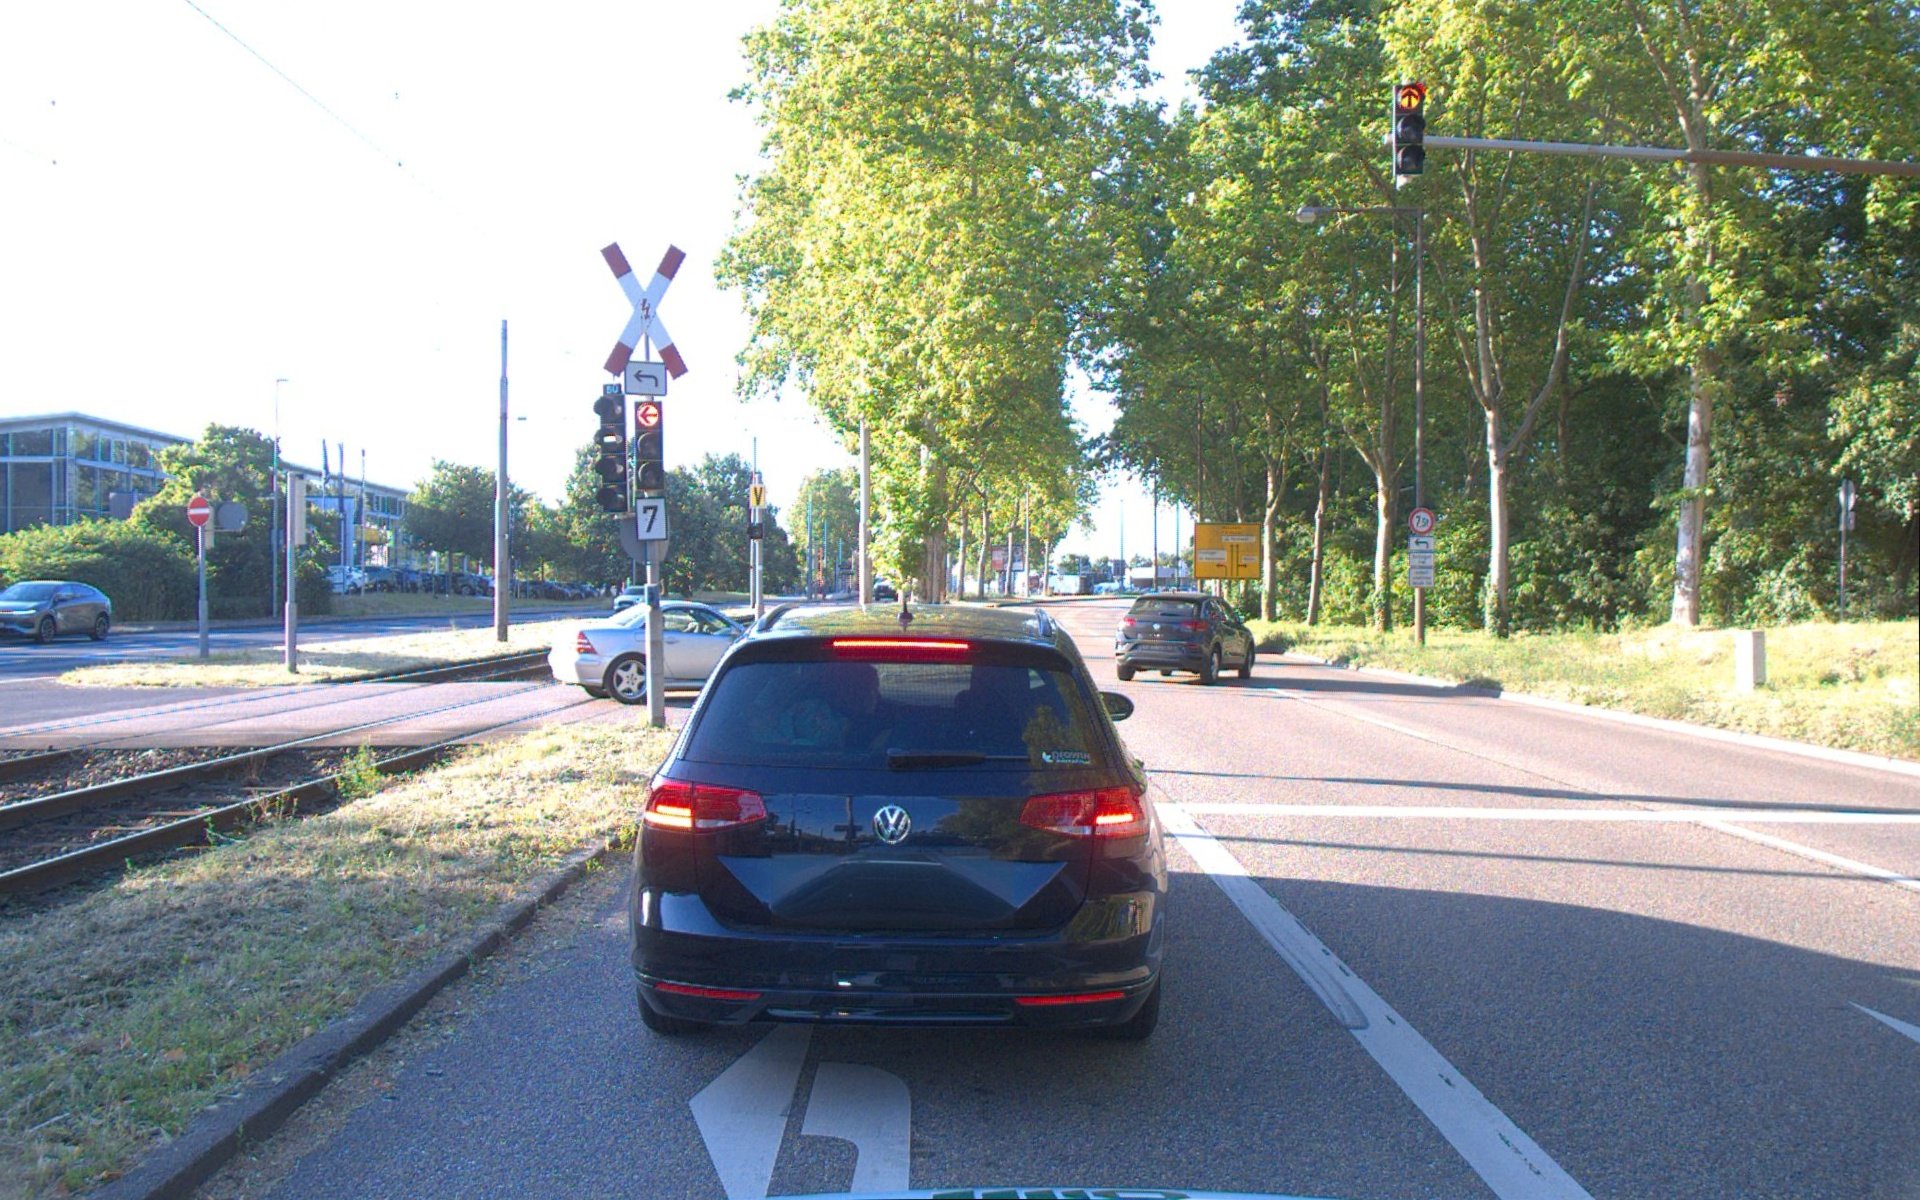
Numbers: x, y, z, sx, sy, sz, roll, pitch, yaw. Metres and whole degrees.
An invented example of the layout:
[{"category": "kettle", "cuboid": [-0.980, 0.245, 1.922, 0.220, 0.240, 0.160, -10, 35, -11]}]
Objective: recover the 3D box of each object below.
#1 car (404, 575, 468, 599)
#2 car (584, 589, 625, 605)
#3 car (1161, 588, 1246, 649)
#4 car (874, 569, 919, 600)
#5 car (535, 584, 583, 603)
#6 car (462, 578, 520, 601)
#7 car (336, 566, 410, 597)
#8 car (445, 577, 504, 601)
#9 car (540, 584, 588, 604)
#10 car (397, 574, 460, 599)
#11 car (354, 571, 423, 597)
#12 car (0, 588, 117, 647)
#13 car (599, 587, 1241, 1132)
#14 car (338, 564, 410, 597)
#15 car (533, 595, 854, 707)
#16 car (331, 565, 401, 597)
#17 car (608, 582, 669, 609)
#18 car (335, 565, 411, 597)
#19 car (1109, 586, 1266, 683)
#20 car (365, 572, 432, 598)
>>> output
[{"category": "car", "cuboid": [-36.045, -0.865, 113.795, 3.913, 1.583, 1.740, 1, 0, -9]}, {"category": "car", "cuboid": [-35.972, -0.336, 167.430, 3.909, 1.583, 1.742, 1, 0, -5]}, {"category": "car", "cuboid": [6.991, 0.516, 47.810, 1.834, 1.663, 4.370, 0, 0, 0]}, {"category": "car", "cuboid": [-5.341, -1.280, 139.484, 2.051, 2.504, 5.856, 1, 1, 16]}, {"category": "car", "cuboid": [-35.227, -0.560, 145.368, 3.909, 1.649, 1.742, 1, 0, -6]}, {"category": "car", "cuboid": [-35.247, -0.767, 124.466, 3.909, 1.649, 1.742, 1, 0, -6]}, {"category": "car", "cuboid": [-33.699, -1.054, 94.949, 3.930, 1.734, 1.732, 1, 0, -22]}, {"category": "car", "cuboid": [-35.577, -0.808, 121.250, 3.909, 1.649, 1.742, 1, 0, -6]}, {"category": "car", "cuboid": [-35.525, -0.534, 148.526, 3.909, 1.649, 1.742, 1, 0, -6]}, {"category": "car", "cuboid": [-35.713, -0.885, 111.100, 3.930, 1.583, 1.732, 1, 0, -22]}, {"category": "car", "cuboid": [-35.207, -0.978, 101.927, 3.930, 1.583, 1.732, 1, 0, -22]}, {"category": "car", "cuboid": [-25.208, 0.434, 45.483, 1.823, 1.507, 4.172, 1, 1, 1]}, {"category": "car", "cuboid": [-0.143, 0.721, 6.387, 1.758, 1.490, 3.582, 1, 0, -1]}, {"category": "car", "cuboid": [-34.447, -1.118, 97.275, 3.930, 1.848, 1.732, 1, 0, -22]}, {"category": "car", "cuboid": [-3.511, 0.623, 21.882, 3.920, 1.317, 1.601, -1, 1, -26]}, {"category": "car", "cuboid": [-35.554, -1.150, 99.012, 3.930, 1.848, 1.732, 1, 0, -22]}, {"category": "car", "cuboid": [-18.382, -0.254, 94.723, 1.822, 1.507, 4.095, 1, 1, 14]}, {"category": "car", "cuboid": [-32.916, -1.045, 92.710, 3.930, 1.734, 1.732, 1, 0, -22]}, {"category": "car", "cuboid": [4.172, 0.573, 29.838, 1.673, 1.588, 4.163, 1, 0, 24]}, {"category": "car", "cuboid": [-35.549, -0.952, 104.706, 3.930, 1.583, 1.732, 1, 0, -22]}]
